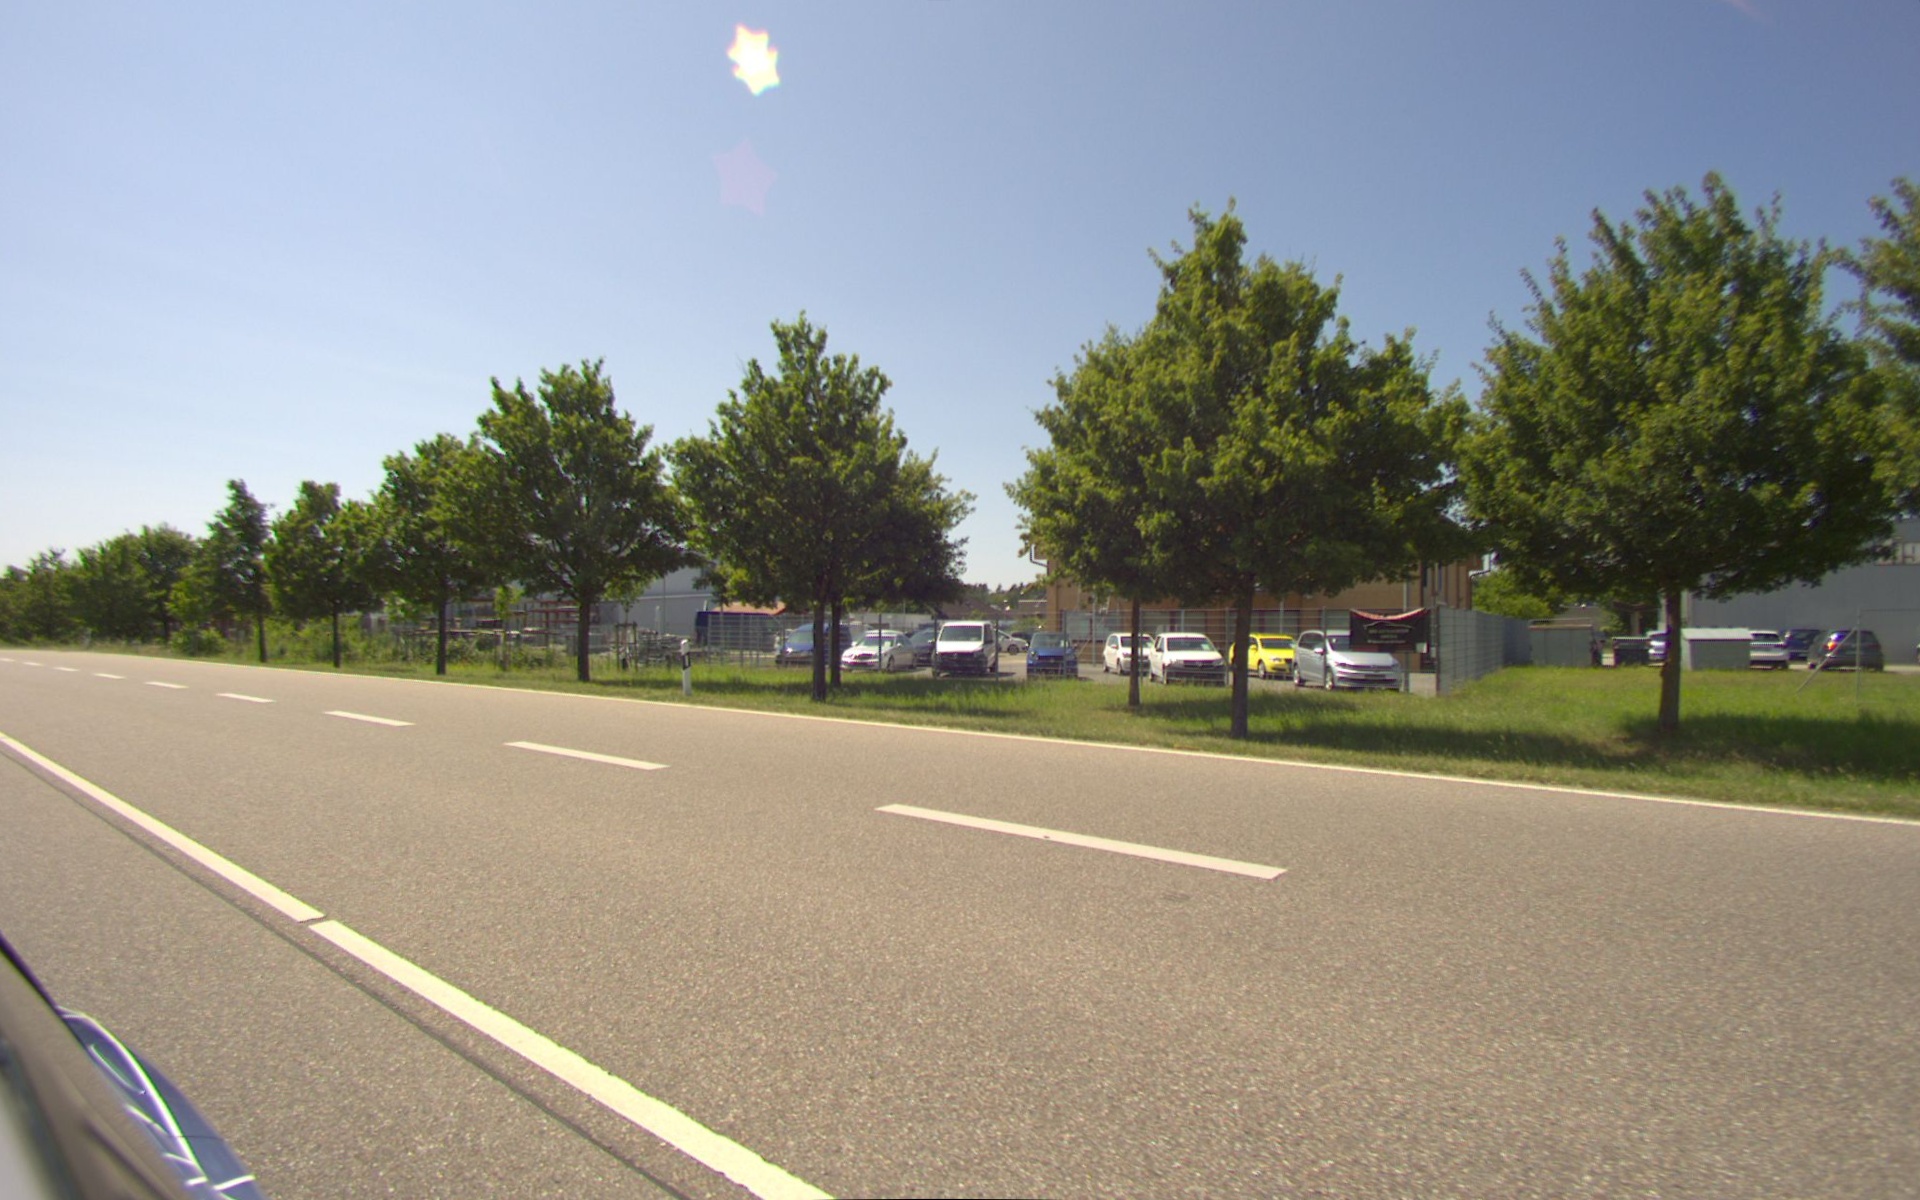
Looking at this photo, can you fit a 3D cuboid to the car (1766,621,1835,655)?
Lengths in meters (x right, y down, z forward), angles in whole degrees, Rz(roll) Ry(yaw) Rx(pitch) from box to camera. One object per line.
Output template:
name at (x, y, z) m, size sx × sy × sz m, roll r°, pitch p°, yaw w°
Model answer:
car at (37.570, 1.676, 45.297) m, size 1.851 × 1.431 × 3.590 m, roll 0°, pitch -1°, yaw 32°

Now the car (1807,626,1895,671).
car at (31.438, 1.667, 35.816) m, size 1.732 × 1.431 × 3.574 m, roll 0°, pitch -1°, yaw 32°

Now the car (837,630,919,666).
car at (-3.612, 2.102, 44.978) m, size 1.639 × 1.419 × 3.653 m, roll -1°, pitch -1°, yaw 36°

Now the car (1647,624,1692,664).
car at (27.365, 1.673, 39.098) m, size 1.227 × 1.431 × 3.035 m, roll 0°, pitch -1°, yaw 31°

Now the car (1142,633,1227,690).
car at (6.544, 1.757, 29.899) m, size 1.650 × 1.491 × 3.992 m, roll -1°, pitch -1°, yaw 1°

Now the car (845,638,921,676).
car at (-2.813, 2.093, 37.748) m, size 1.798 × 1.274 × 3.663 m, roll -1°, pitch -1°, yaw 13°

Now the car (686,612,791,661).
car at (-12.749, 2.128, 58.270) m, size 5.646 × 2.743 × 2.372 m, roll 1°, pitch -2°, yaw -18°

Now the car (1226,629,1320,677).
car at (10.469, 1.743, 34.164) m, size 1.713 × 1.409 × 4.002 m, roll -1°, pitch -1°, yaw -3°

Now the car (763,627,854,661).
car at (-8.337, 2.435, 55.823) m, size 4.557 × 1.821 × 2.061 m, roll 2°, pitch -3°, yaw -34°

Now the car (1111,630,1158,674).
car at (6.222, 1.841, 36.398) m, size 1.495 × 1.463 × 3.339 m, roll -1°, pitch -1°, yaw 7°

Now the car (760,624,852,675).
car at (-6.023, 1.904, 40.071) m, size 2.007 × 1.815 × 4.283 m, roll -1°, pitch -1°, yaw 16°

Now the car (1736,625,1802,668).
car at (29.662, 1.672, 37.193) m, size 1.428 × 1.431 × 3.574 m, roll 0°, pitch -1°, yaw 31°

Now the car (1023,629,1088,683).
car at (3.080, 1.798, 33.382) m, size 1.974 × 1.608 × 3.995 m, roll -1°, pitch -1°, yaw 4°

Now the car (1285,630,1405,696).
car at (10.300, 1.640, 27.412) m, size 1.567 × 1.555 × 4.341 m, roll -1°, pitch -1°, yaw 0°

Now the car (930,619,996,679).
car at (0.175, 1.676, 35.998) m, size 1.805 × 1.969 × 4.655 m, roll -1°, pitch -1°, yaw 7°

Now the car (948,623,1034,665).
car at (1.880, 2.638, 61.135) m, size 5.036 × 2.445 × 2.054 m, roll 1°, pitch -3°, yaw 3°
